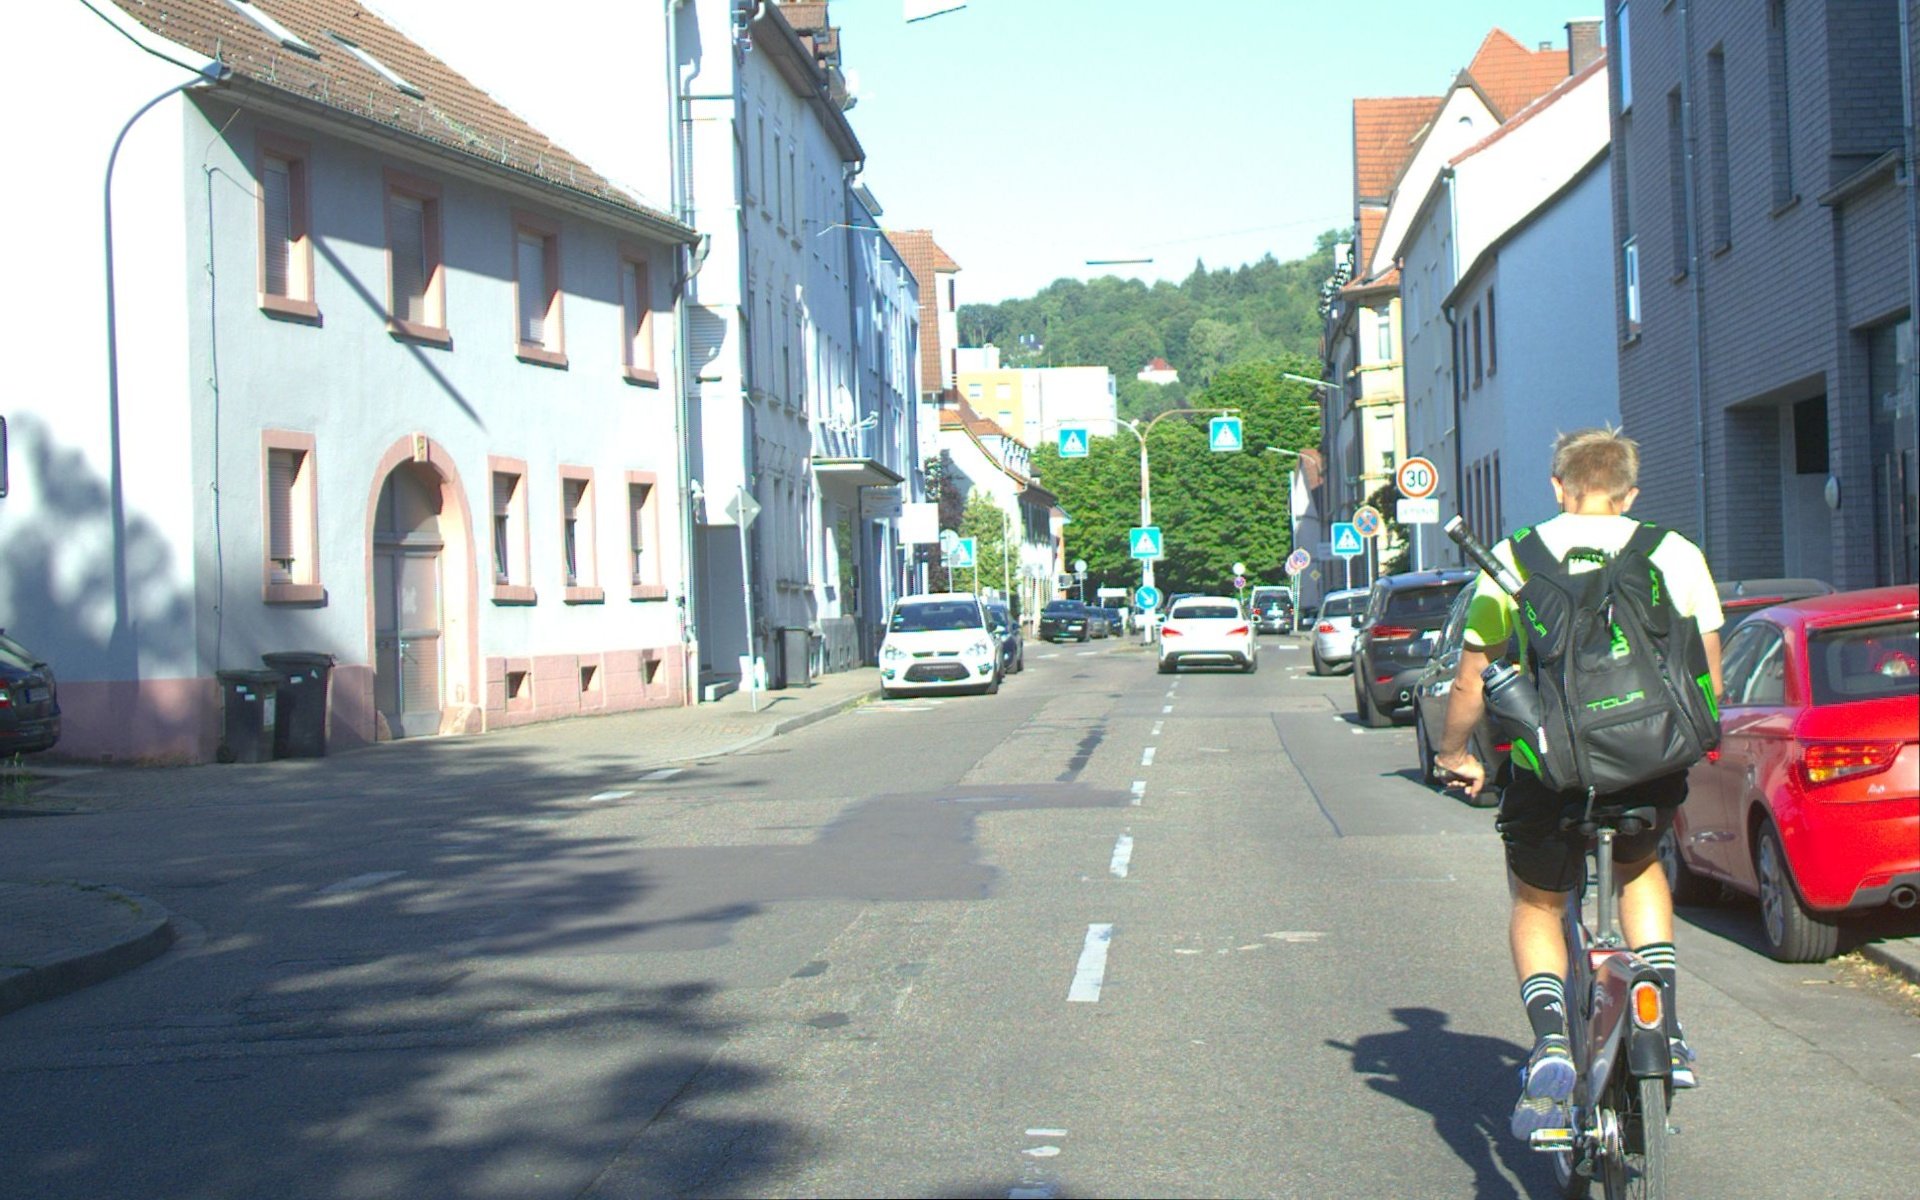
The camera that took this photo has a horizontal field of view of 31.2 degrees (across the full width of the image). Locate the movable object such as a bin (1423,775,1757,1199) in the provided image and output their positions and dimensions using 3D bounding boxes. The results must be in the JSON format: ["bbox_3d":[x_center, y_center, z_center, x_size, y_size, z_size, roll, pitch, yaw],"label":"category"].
[{"bbox_3d":[1.371,0.943,7.723,0.454,1.029,1.840,1,-1,2],"label":"movable object such as a bin"}]

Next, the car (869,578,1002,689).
[{"bbox_3d":[-0.348,0.505,55.594,1.993,1.642,5.222,-2,0,1],"label":"car"}]

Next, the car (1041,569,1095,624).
[{"bbox_3d":[4.148,-0.141,132.084,1.993,2.007,4.000,-2,0,2],"label":"car"}]

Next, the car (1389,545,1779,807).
[{"bbox_3d":[4.401,0.463,25.000,1.993,1.647,4.762,-2,1,1],"label":"car"}]

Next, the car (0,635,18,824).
[{"bbox_3d":[-9.757,1.170,27.480,3.768,1.525,2.000,-3,1,4],"label":"car"}]

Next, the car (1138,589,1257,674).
[{"bbox_3d":[4.412,0.562,64.371,1.993,1.461,4.000,-3,0,2],"label":"car"}]

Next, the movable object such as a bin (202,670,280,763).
[{"bbox_3d":[-7.071,1.142,33.833,0.598,0.869,0.606,-2,0,2],"label":"movable object such as a bin"}]

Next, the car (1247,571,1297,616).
[{"bbox_3d":[12.461,-0.268,137.131,1.818,1.625,3.999,-3,1,6],"label":"car"}]

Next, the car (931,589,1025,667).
[{"bbox_3d":[0.395,0.583,72.120,1.731,1.494,3.958,-3,0,3],"label":"car"}]

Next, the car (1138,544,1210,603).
[{"bbox_3d":[7.657,-0.932,123.429,1.993,2.007,4.000,-3,0,-4],"label":"car"}]

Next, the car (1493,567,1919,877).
[{"bbox_3d":[4.356,0.611,19.884,1.994,1.500,4.366,-2,1,3],"label":"car"}]

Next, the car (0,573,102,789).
[{"bbox_3d":[-10.269,0.670,31.278,4.364,1.788,1.988,1,3,5],"label":"car"}]

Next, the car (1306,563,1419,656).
[{"bbox_3d":[7.131,0.142,61.195,1.741,1.487,4.438,-4,0,5],"label":"car"}]

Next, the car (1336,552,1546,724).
[{"bbox_3d":[5.228,0.362,37.885,1.855,1.630,4.622,-5,0,4],"label":"car"}]

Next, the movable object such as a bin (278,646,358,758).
[{"bbox_3d":[-6.463,1.018,34.632,0.599,1.090,0.751,-1,0,4],"label":"movable object such as a bin"}]

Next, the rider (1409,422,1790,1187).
[{"bbox_3d":[1.381,0.426,7.584,0.653,1.556,1.083,1,-1,2],"label":"rider"}]

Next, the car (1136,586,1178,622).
[{"bbox_3d":[10.210,0.190,178.288,1.807,1.696,4.192,-4,0,0],"label":"car"}]

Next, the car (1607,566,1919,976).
[{"bbox_3d":[4.016,0.613,14.910,1.713,1.399,4.073,-6,0,3],"label":"car"}]

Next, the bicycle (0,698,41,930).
[{"bbox_3d":[-4.626,0.958,14.623,0.704,0.999,1.941,-1,0,7],"label":"bicycle"}]

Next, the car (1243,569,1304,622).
[{"bbox_3d":[11.464,-0.171,125.786,2.011,1.846,4.000,-1,1,3],"label":"car"}]
